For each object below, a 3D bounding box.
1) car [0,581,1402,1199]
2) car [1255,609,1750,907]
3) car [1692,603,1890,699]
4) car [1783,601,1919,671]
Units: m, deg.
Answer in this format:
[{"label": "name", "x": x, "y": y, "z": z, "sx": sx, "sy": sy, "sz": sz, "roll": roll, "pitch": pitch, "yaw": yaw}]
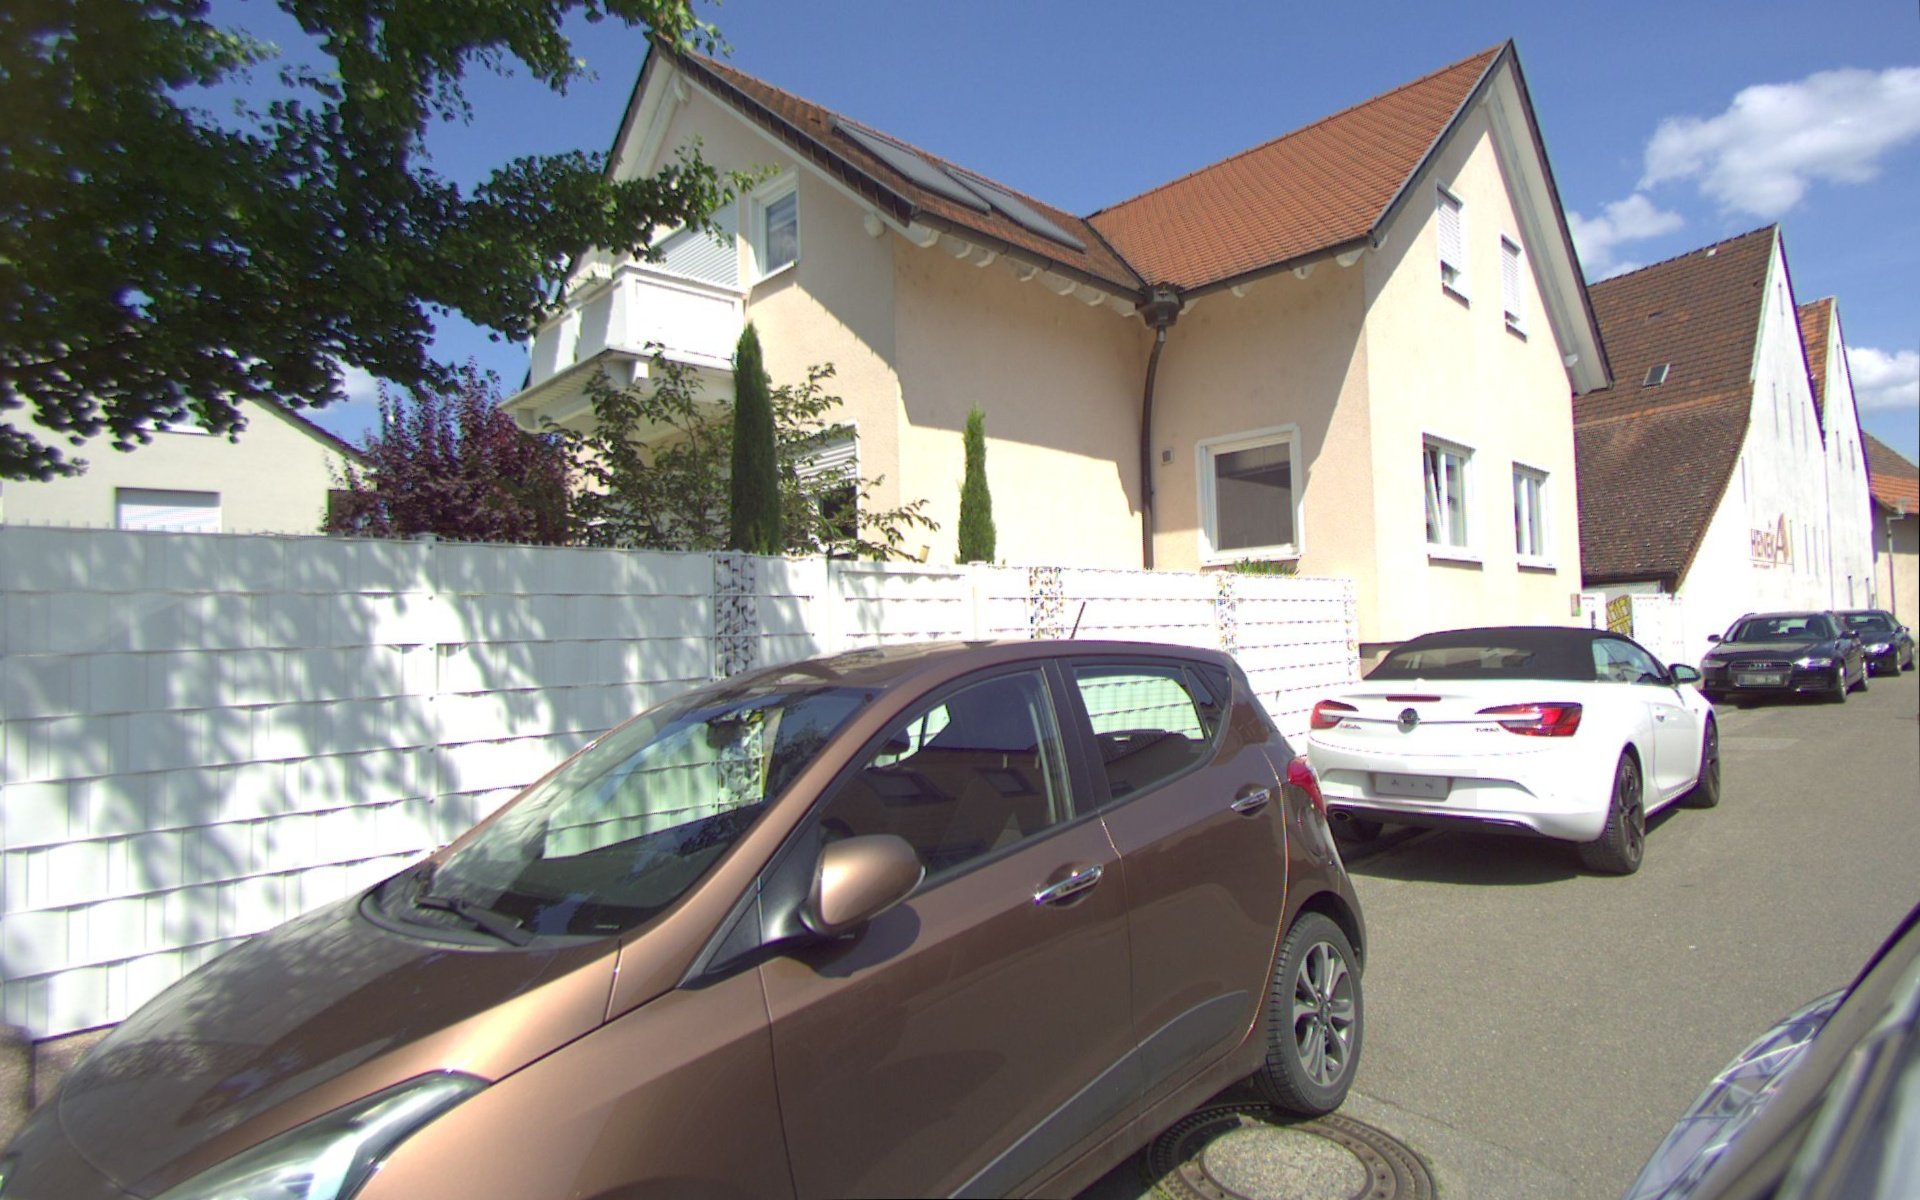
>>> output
[{"label": "car", "x": -0.572, "y": 0.838, "z": 2.634, "sx": 1.712, "sy": 1.553, "sz": 3.970, "roll": -9, "pitch": -6, "yaw": 44}, {"label": "car", "x": 4.225, "y": 0.859, "z": 7.453, "sx": 1.895, "sy": 1.447, "sz": 4.660, "roll": -4, "pitch": -3, "yaw": 45}, {"label": "car", "x": 14.206, "y": 0.800, "z": 17.206, "sx": 4.656, "sy": 1.383, "sz": 1.897, "roll": 0, "pitch": -3, "yaw": -42}, {"label": "car", "x": 20.071, "y": 0.764, "z": 22.538, "sx": 4.337, "sy": 1.383, "sz": 1.898, "roll": -1, "pitch": -3, "yaw": -41}]
